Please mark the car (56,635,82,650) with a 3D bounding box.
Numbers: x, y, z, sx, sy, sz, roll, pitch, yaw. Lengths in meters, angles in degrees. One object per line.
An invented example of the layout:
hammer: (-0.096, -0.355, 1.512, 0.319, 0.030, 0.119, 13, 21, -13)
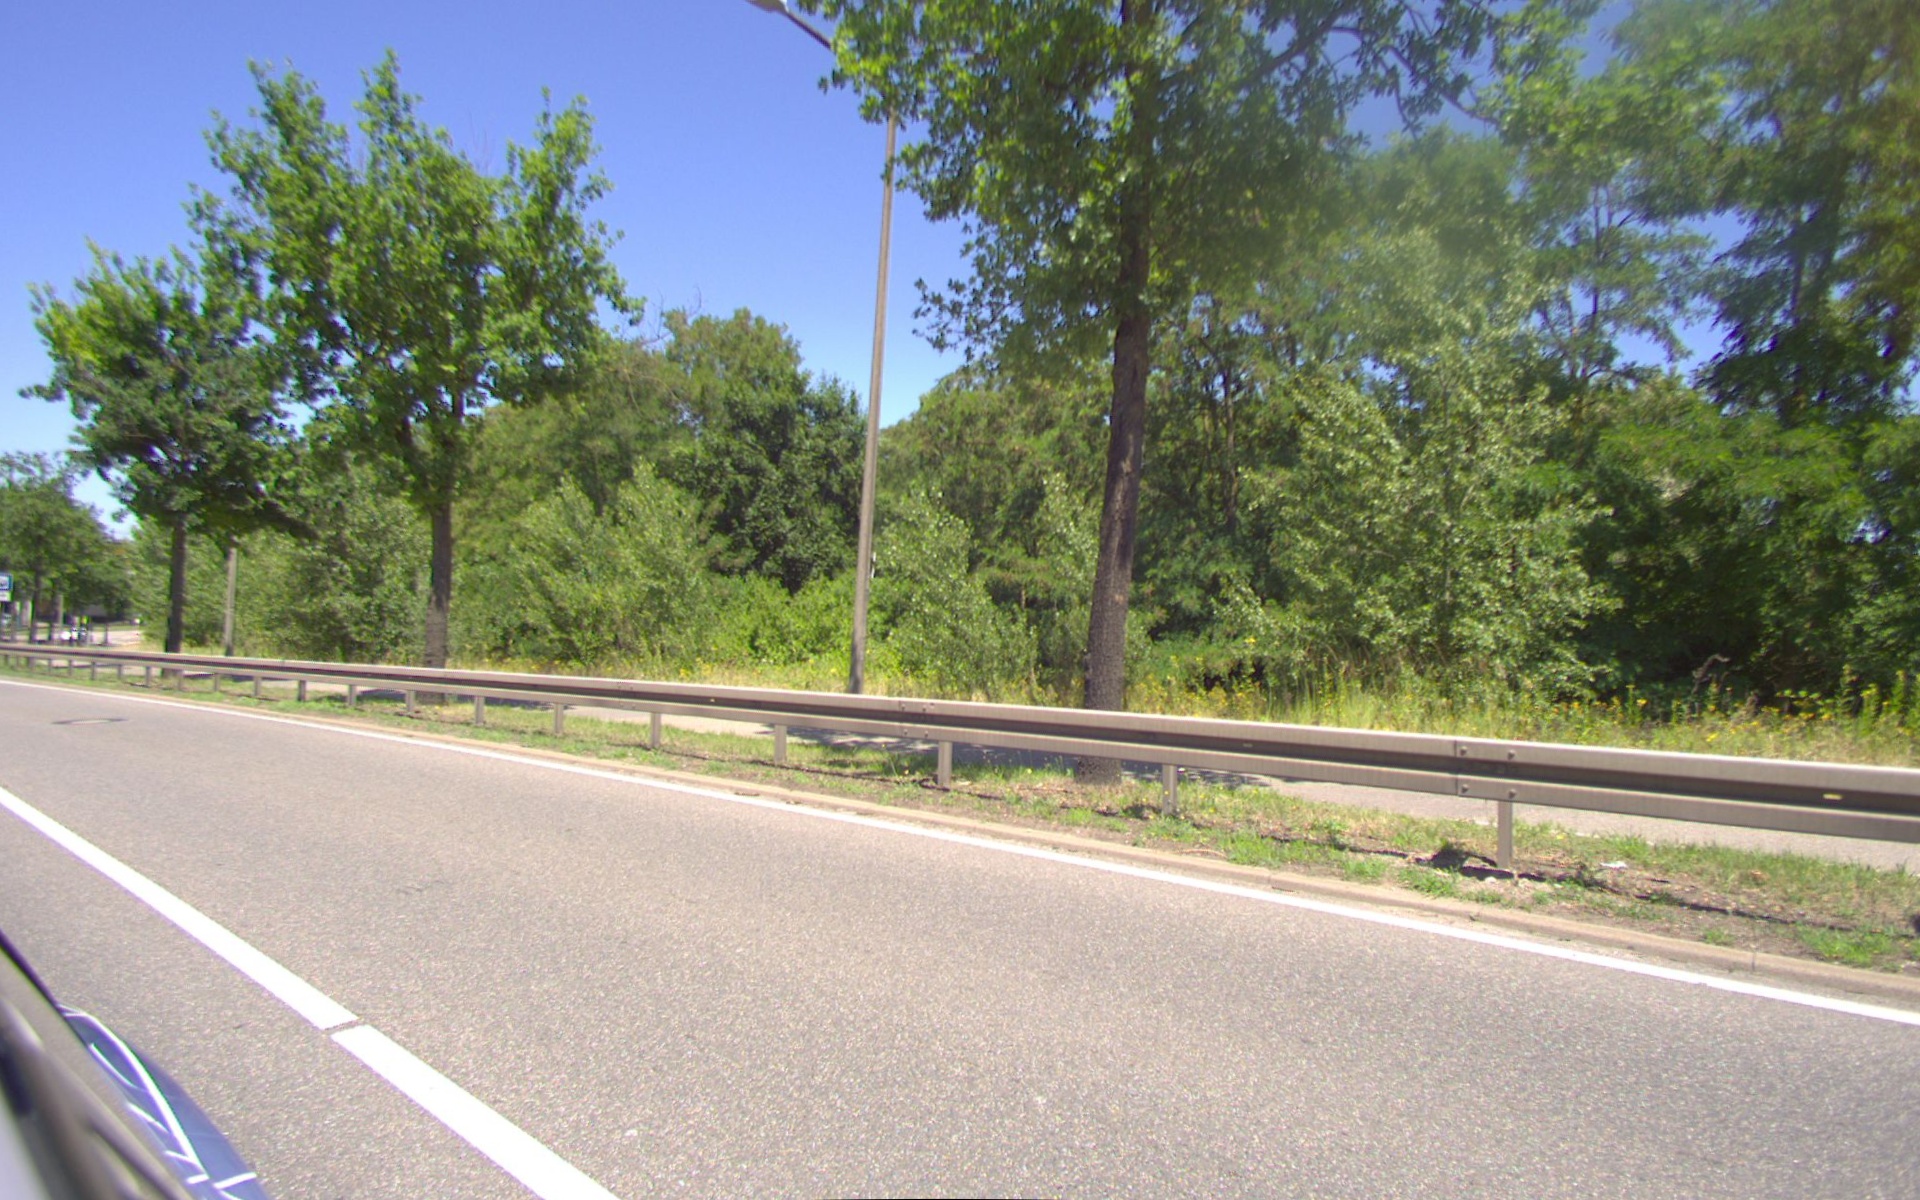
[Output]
car: (-93.829, 4.471, 106.572, 1.752, 1.454, 4.009, 0, 0, -37)
